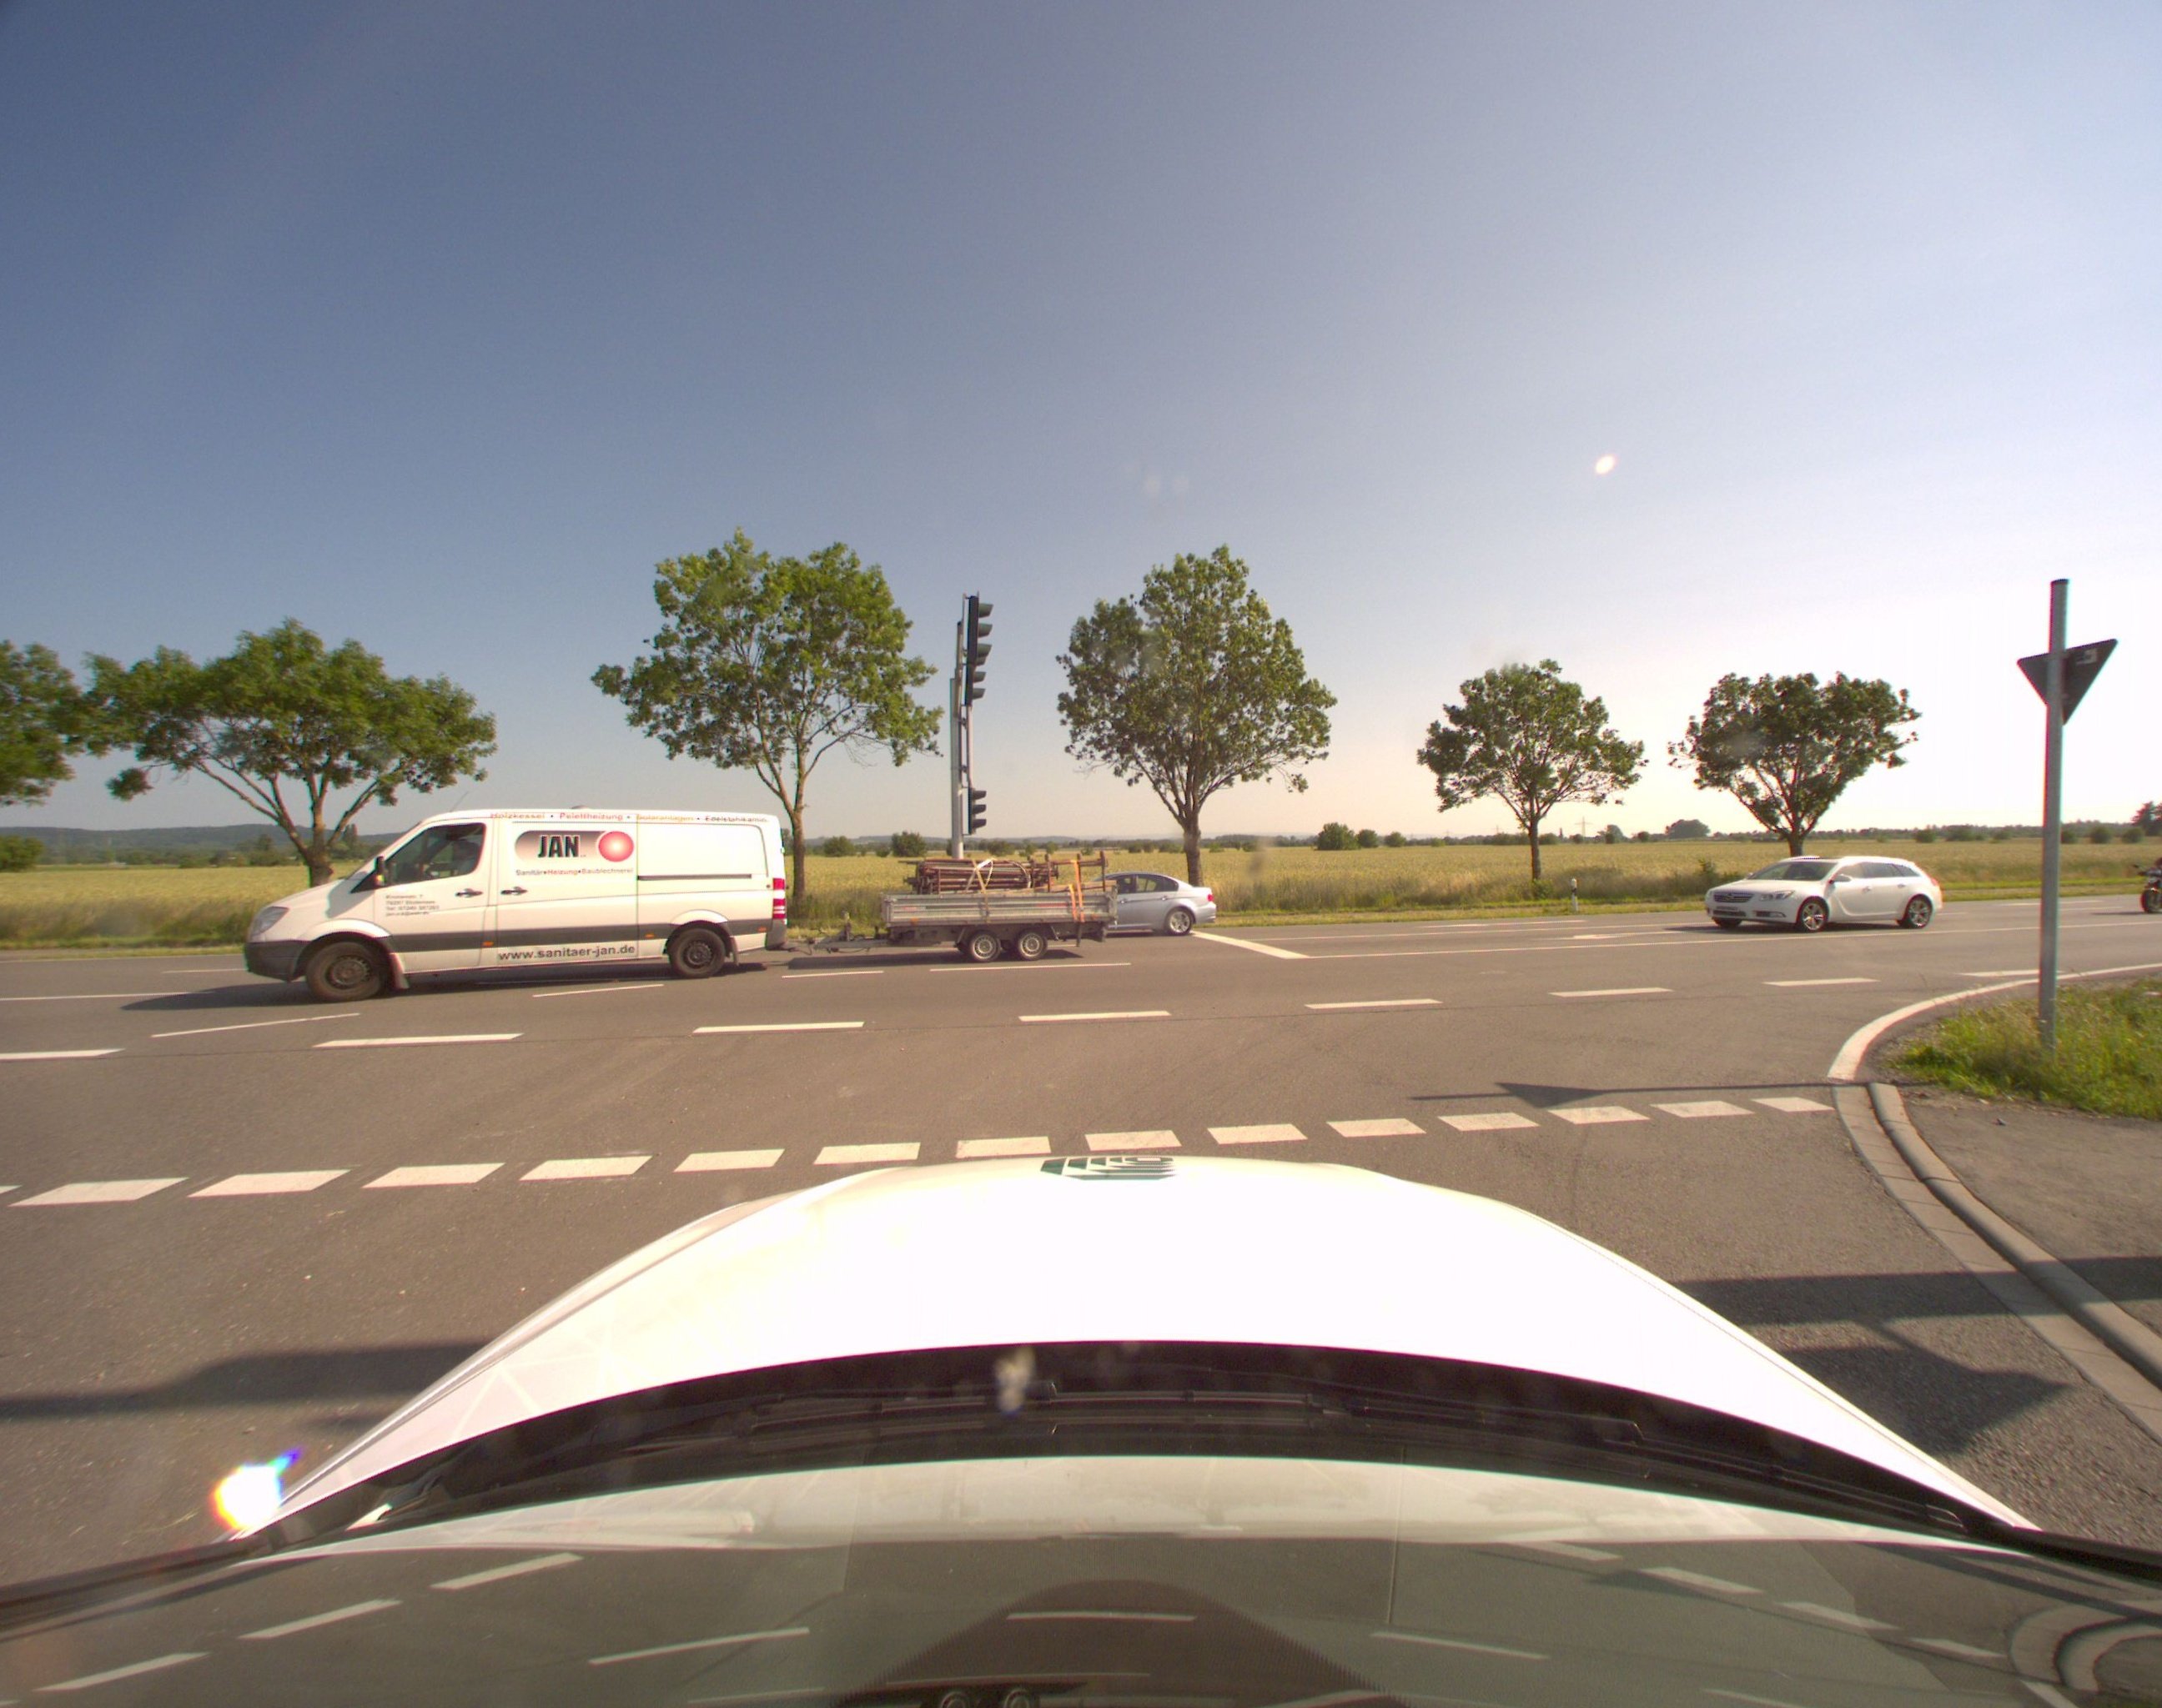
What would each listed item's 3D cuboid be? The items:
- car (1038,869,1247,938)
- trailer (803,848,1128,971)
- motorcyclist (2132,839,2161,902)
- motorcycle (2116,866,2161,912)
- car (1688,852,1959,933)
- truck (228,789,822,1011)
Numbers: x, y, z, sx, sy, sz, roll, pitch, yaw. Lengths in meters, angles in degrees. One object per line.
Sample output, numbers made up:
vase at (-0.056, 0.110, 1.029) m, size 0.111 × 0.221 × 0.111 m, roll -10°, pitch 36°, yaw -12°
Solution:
car at (1.332, 1.079, 18.272) m, size 4.410 × 1.377 × 1.628 m, roll -1°, pitch -2°, yaw -11°
trailer at (-1.908, 0.821, 13.466) m, size 5.008 × 1.738 × 1.969 m, roll -1°, pitch -1°, yaw -17°
motorcyclist at (26.433, 0.386, 19.779) m, size 1.179 × 1.515 × 0.678 m, roll -1°, pitch -1°, yaw -14°
motorcycle at (26.676, 0.837, 19.849) m, size 2.425 × 1.044 × 0.895 m, roll -1°, pitch -1°, yaw -15°
car at (15.395, 0.744, 16.960) m, size 4.696 × 1.492 × 1.758 m, roll -1°, pitch -1°, yaw -12°
truck at (-6.975, 0.501, 11.217) m, size 6.215 × 2.405 × 2.052 m, roll 0°, pitch -1°, yaw -29°
